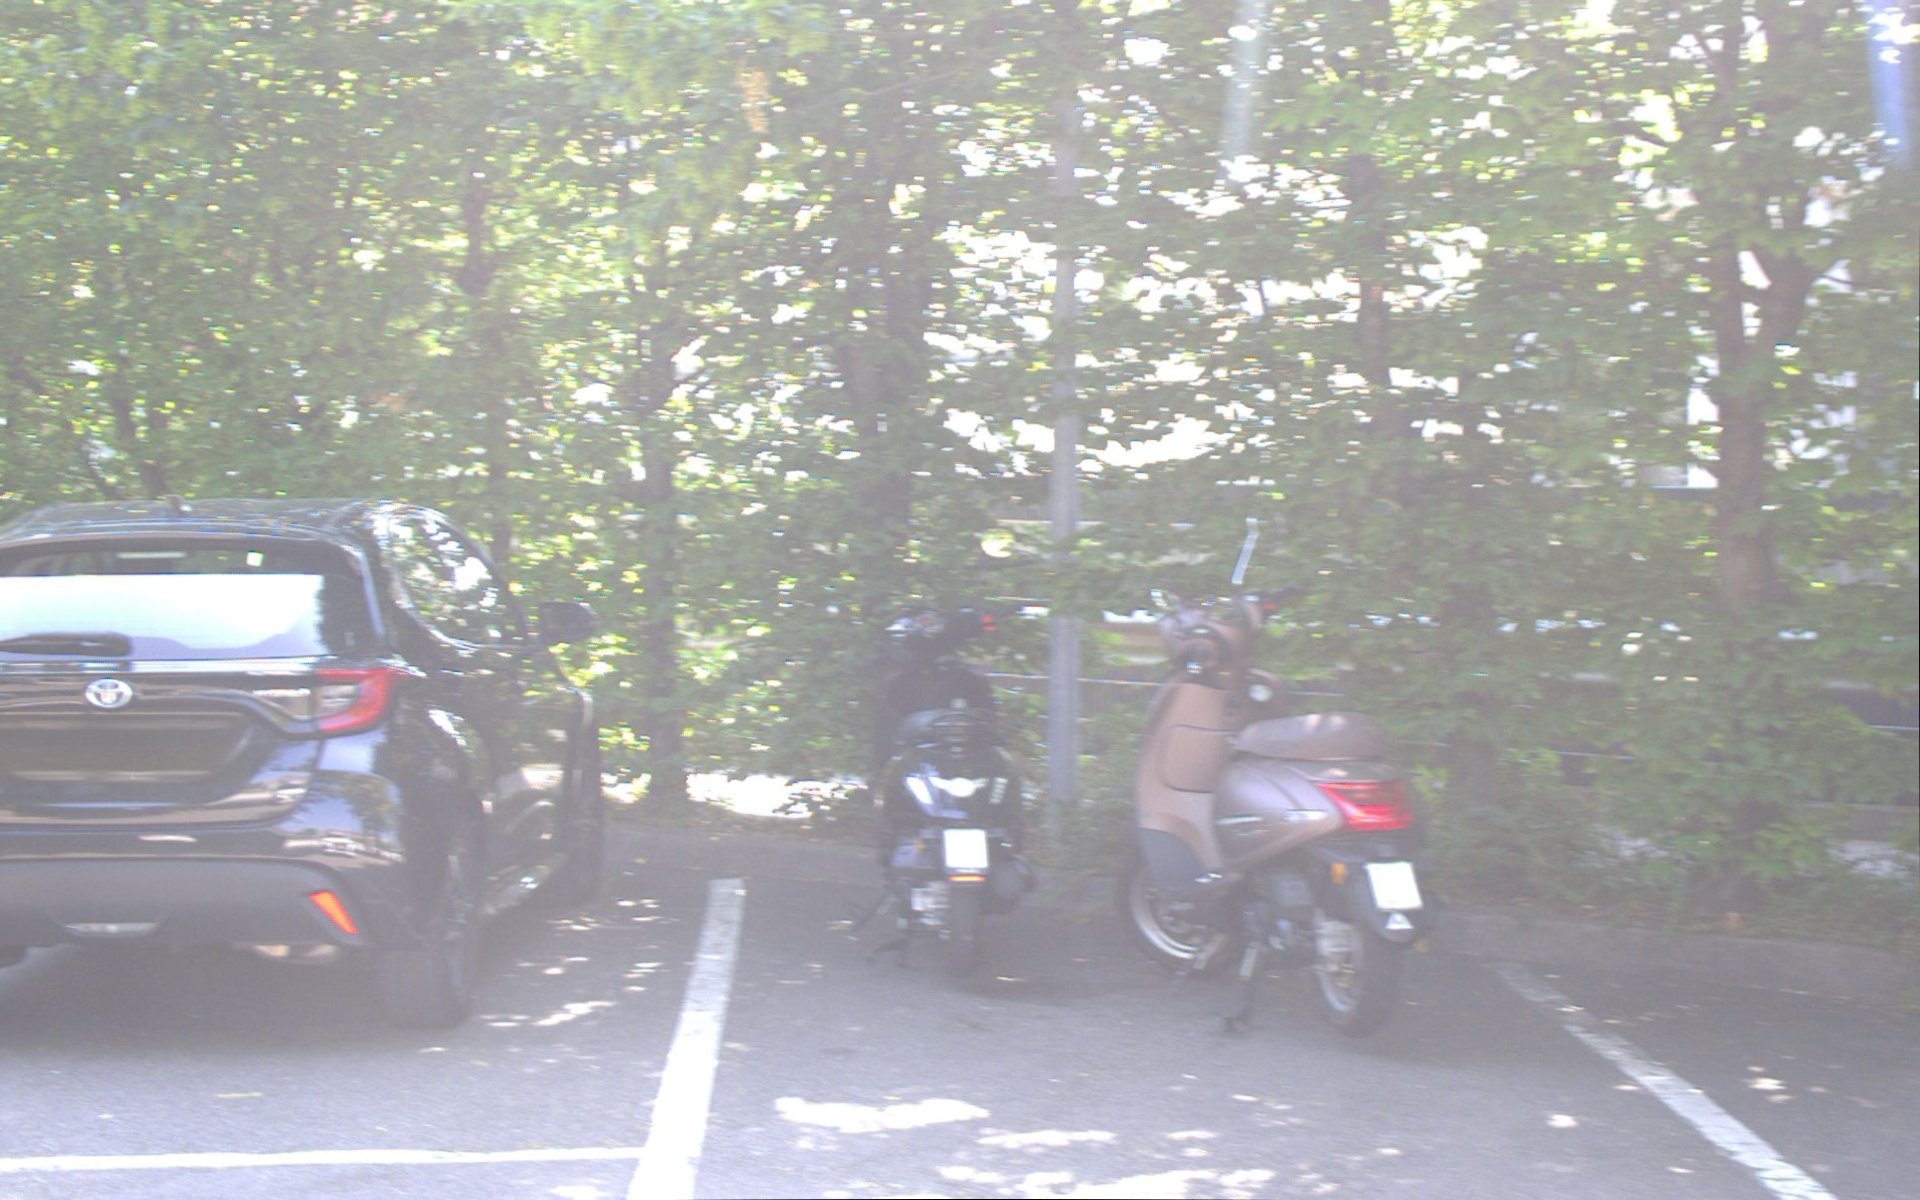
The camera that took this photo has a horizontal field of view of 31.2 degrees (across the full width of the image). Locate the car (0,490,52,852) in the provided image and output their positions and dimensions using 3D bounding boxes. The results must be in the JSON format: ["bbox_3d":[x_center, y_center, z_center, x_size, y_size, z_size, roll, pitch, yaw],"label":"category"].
[{"bbox_3d":[-4.796,0.360,12.523,1.699,1.448,4.000,0,3,3],"label":"car"}]

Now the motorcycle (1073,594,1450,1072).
[{"bbox_3d":[0.793,0.585,9.489,0.568,1.165,1.606,-1,1,-13],"label":"motorcycle"}]

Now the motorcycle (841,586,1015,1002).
[{"bbox_3d":[-0.118,0.548,10.592,0.473,1.137,1.606,0,2,-3],"label":"motorcycle"}]

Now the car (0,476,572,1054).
[{"bbox_3d":[-2.308,0.369,10.987,1.655,1.464,3.905,-1,3,0],"label":"car"}]
